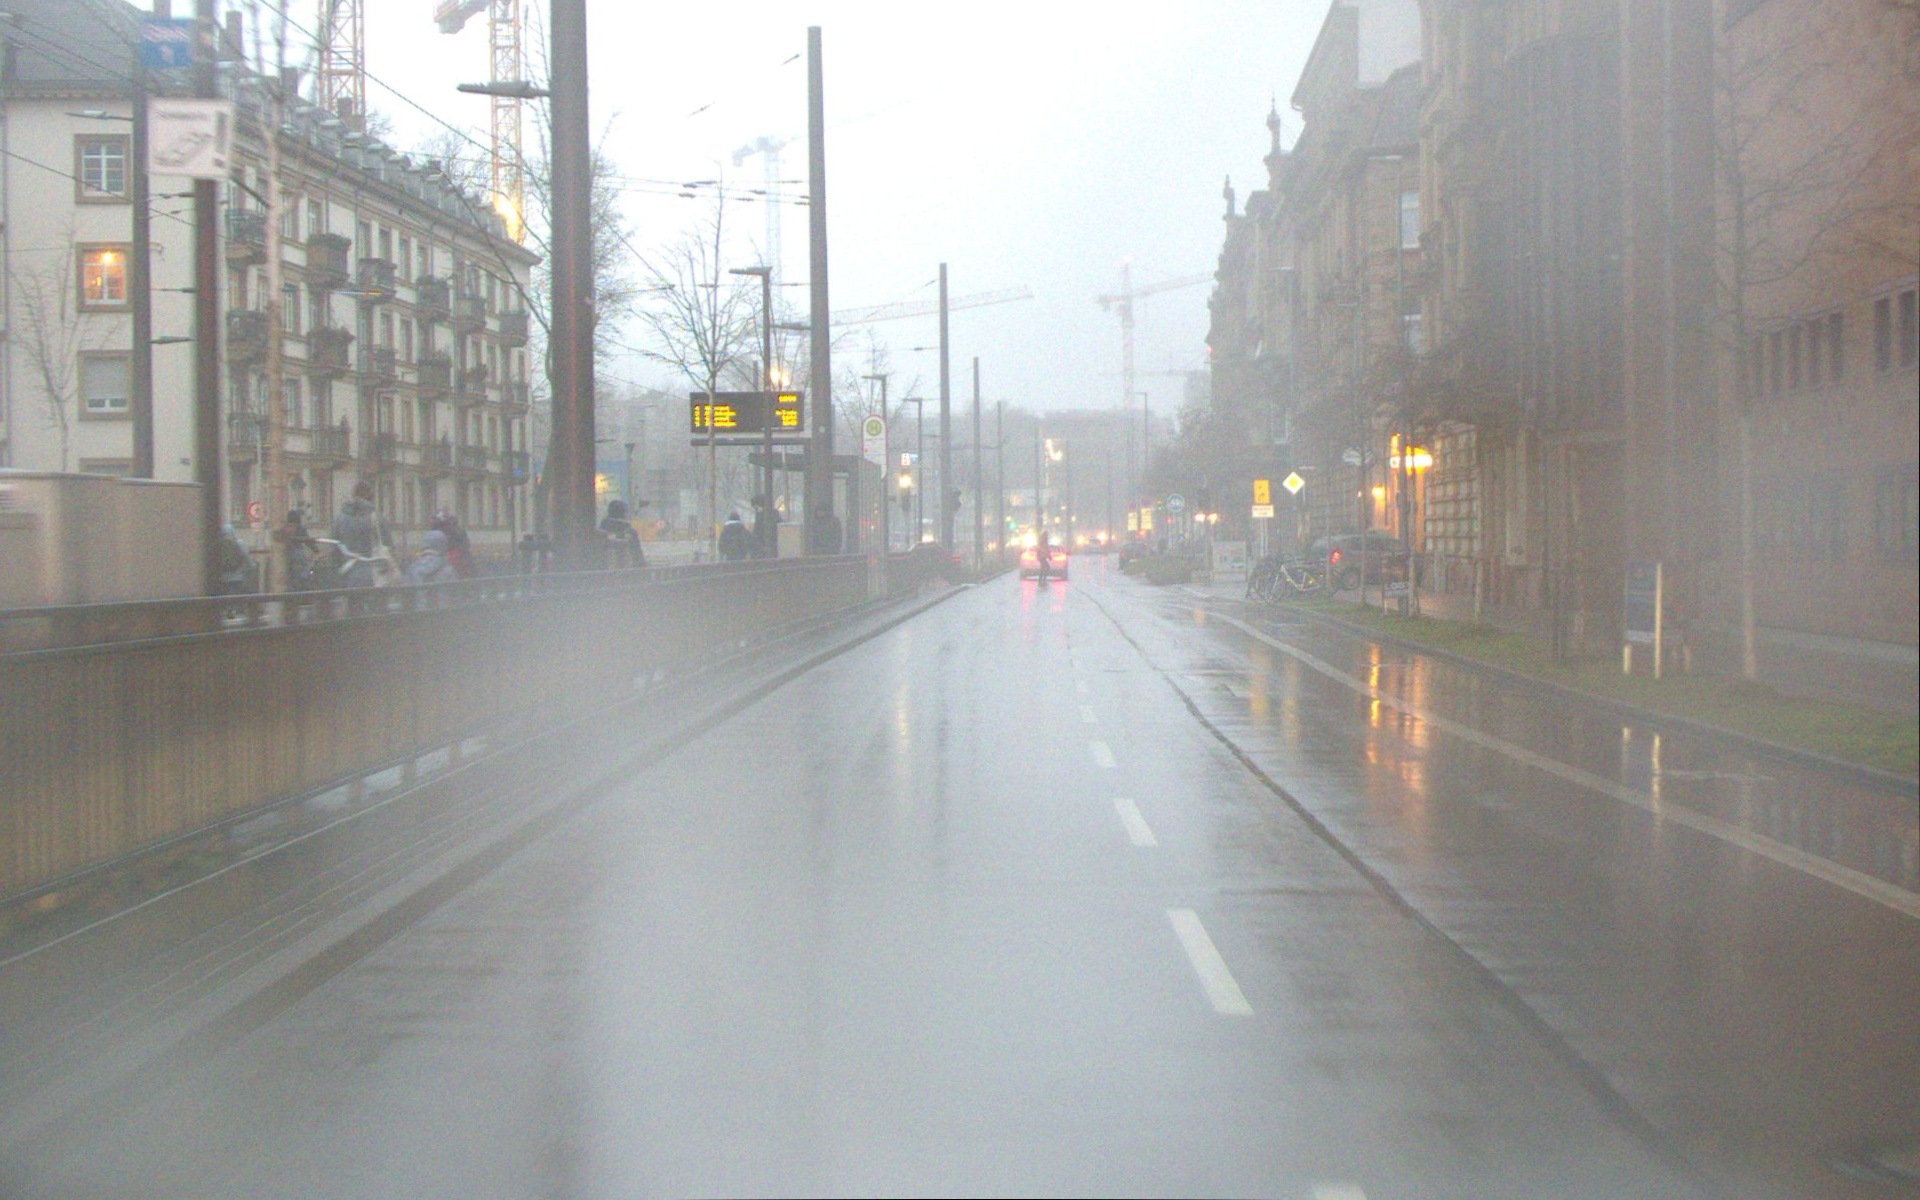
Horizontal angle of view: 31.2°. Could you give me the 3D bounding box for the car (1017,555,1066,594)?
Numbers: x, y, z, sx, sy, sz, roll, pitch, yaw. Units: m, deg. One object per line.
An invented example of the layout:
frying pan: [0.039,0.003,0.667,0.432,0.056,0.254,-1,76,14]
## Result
car: [3.193,-1.002,134.034,1.784,1.462,3.148,-1,1,4]

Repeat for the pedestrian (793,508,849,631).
pedestrian: [-2.220,-0.489,55.020,0.809,1.941,0.804,0,1,2]

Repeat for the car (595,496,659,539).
car: [-10.823,-2.680,111.847,1.682,1.349,3.546,1,1,1]

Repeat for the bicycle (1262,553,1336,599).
bicycle: [8.201,-0.577,83.201,1.730,1.051,0.371,-2,1,1]

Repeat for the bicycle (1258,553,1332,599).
bicycle: [8.155,-0.584,83.704,1.730,1.051,0.371,-2,1,1]

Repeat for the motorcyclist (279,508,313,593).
motorcyclist: [-11.683,-0.875,60.525,0.499,1.490,0.556,1,1,-3]

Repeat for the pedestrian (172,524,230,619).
pedestrian: [-12.328,-0.460,55.819,0.634,1.519,0.756,0,1,-40]

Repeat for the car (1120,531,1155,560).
car: [9.895,-3.029,191.265,1.799,1.598,3.769,-1,1,4]

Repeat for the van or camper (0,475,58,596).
van or camper: [-22.708,-1.445,76.102,2.774,2.673,6.752,1,1,9]

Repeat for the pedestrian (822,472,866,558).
pedestrian: [-2.045,-1.491,60.663,0.679,1.511,0.619,0,1,-10]

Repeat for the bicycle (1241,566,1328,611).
bicycle: [8.225,-0.287,87.130,2.144,1.051,0.484,-2,1,1]

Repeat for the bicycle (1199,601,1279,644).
bicycle: [7.375,0.604,90.889,2.087,1.048,0.478,-2,1,-24]

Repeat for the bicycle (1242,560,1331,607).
bicycle: [8.216,-0.417,86.504,2.144,1.051,0.425,-3,2,1]

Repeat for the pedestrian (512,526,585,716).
pedestrian: [-3.471,0.168,29.022,0.540,1.584,0.563,0,1,-1]

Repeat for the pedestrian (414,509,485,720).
pedestrian: [-4.097,0.112,27.630,0.481,1.673,0.563,0,1,-1]

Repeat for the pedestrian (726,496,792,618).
pedestrian: [-2.829,-0.607,48.308,0.776,1.698,0.773,0,1,-16]

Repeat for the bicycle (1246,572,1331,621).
bicycle: [8.133,-0.087,85.164,2.008,1.091,0.425,-3,1,1]

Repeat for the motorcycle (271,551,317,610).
motorcycle: [-11.697,-0.356,60.429,0.512,1.005,1.807,1,1,-2]

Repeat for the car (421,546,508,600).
car: [-12.867,-0.710,89.390,1.682,1.349,3.546,1,1,1]

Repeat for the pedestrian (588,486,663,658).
pedestrian: [-3.338,-0.283,34.286,0.645,1.698,0.568,0,1,-16]

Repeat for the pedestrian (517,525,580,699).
pedestrian: [-4.028,0.110,33.714,0.540,1.686,0.643,0,1,-1]

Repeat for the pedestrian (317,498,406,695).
pedestrian: [-4.864,-0.035,27.960,0.618,1.584,0.622,0,1,-1]

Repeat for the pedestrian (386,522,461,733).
pedestrian: [-4.082,0.201,26.162,0.481,1.584,0.563,0,1,-1]
